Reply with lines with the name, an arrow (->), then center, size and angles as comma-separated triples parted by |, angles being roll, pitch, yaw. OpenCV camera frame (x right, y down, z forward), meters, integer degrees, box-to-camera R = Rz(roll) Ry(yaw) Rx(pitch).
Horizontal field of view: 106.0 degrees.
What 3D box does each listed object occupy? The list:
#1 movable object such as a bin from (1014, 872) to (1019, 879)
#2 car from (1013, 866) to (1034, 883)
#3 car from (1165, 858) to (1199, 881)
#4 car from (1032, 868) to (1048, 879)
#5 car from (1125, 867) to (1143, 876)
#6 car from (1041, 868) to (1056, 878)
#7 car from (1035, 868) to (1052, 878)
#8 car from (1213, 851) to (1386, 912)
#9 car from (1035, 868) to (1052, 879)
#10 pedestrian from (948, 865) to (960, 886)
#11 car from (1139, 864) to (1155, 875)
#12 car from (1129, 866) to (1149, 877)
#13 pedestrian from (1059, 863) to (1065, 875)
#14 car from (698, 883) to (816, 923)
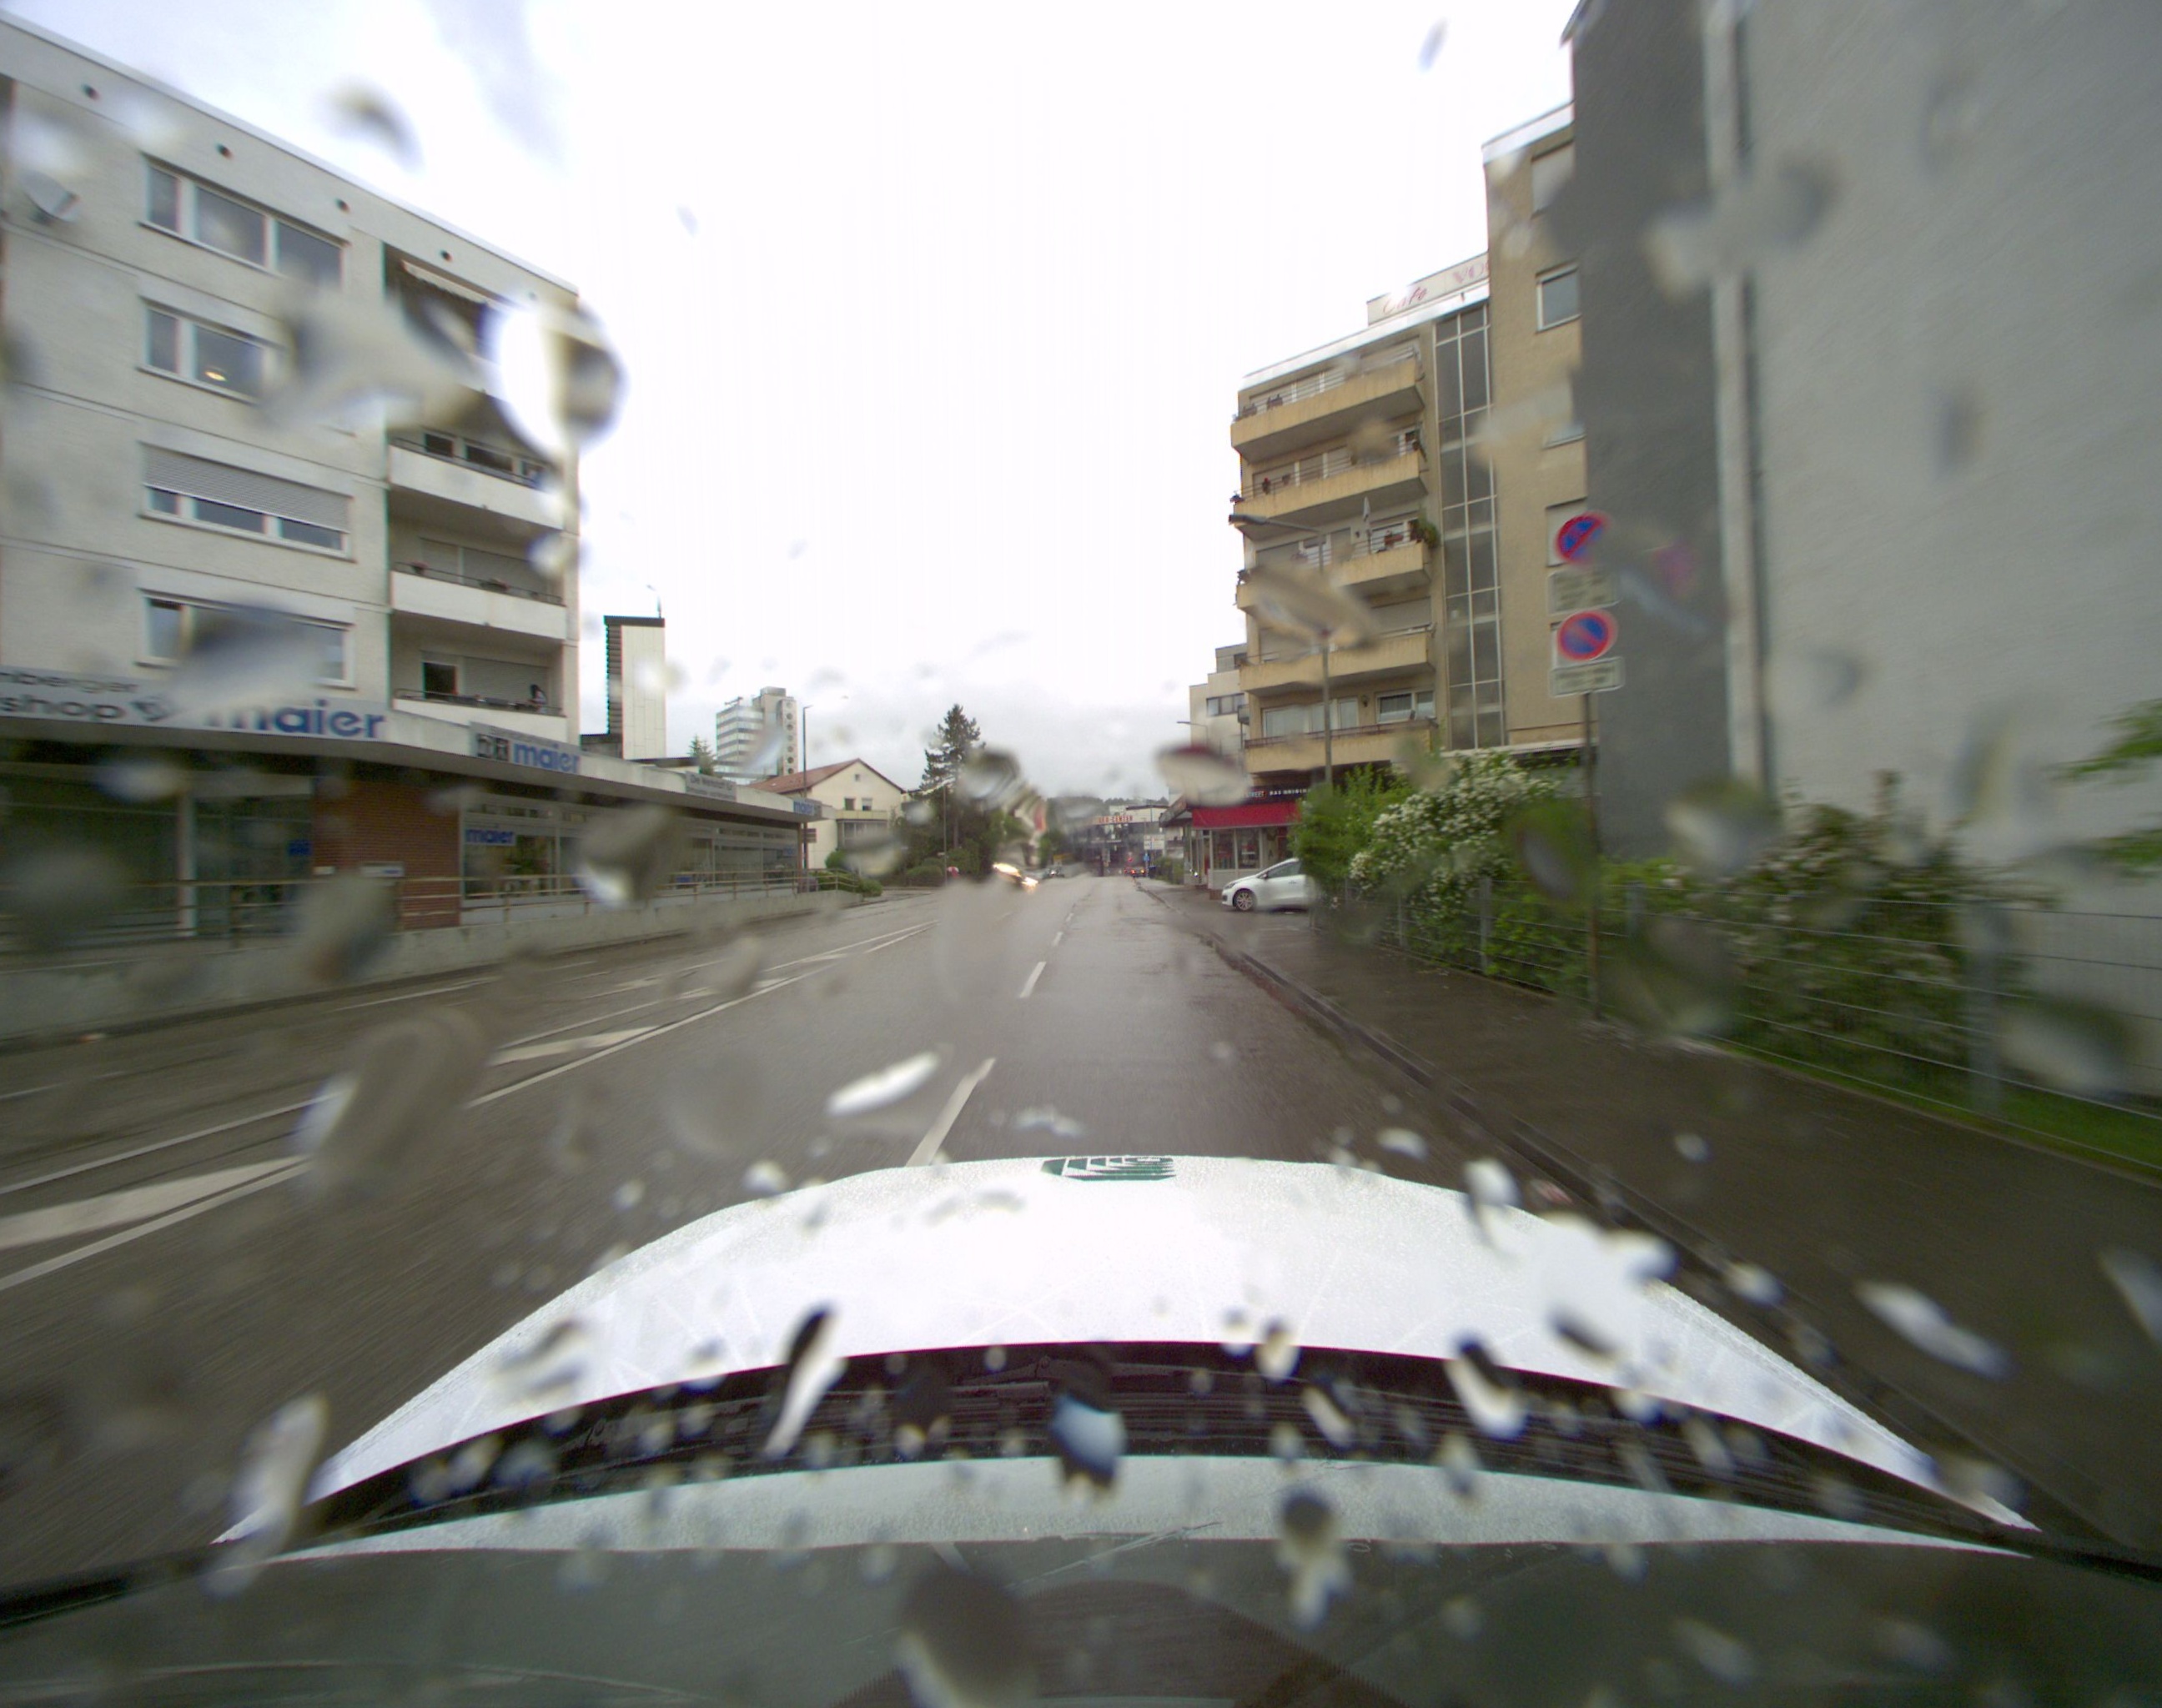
movable object such as a bin -> -8.654, 2.909, 109.280 | 0.645, 0.966, 0.683 | -2, -1, 4
car -> -5.642, 2.034, 80.672 | 1.692, 1.409, 4.000 | -4, 0, 0
car -> 8.170, 1.245, 66.117 | 1.988, 1.785, 4.687 | -2, -1, -2
car -> -6.023, 2.873, 119.311 | 1.685, 1.464, 4.690 | -1, -1, 5
car -> 8.878, 2.995, 136.368 | 1.788, 1.419, 4.022 | -2, -1, 24
car -> -5.179, 2.966, 130.056 | 1.925, 1.542, 4.278 | -1, -1, 5
car -> -5.681, 2.888, 124.616 | 1.925, 1.542, 4.527 | -1, -1, 5
car -> 5.992, 0.716, 22.397 | 4.216, 1.494, 1.885 | -1, 1, 30
car -> -5.181, 2.722, 113.235 | 1.644, 1.521, 4.330 | -1, -1, 5
pedestrian -> -10.045, 1.683, 64.561 | 0.867, 1.607, 1.101 | -1, -2, -5
car -> 9.954, 2.279, 123.069 | 1.686, 1.486, 4.014 | -5, -2, 13
car -> 8.361, 2.534, 116.866 | 1.979, 1.534, 4.664 | -1, -2, 14
pedestrian -> -3.404, 2.698, 147.508 | 0.741, 2.014, 0.926 | 2, -1, 25
car -> -14.462, 2.146, 36.568 | 1.975, 1.546, 4.497 | -2, -1, 44
